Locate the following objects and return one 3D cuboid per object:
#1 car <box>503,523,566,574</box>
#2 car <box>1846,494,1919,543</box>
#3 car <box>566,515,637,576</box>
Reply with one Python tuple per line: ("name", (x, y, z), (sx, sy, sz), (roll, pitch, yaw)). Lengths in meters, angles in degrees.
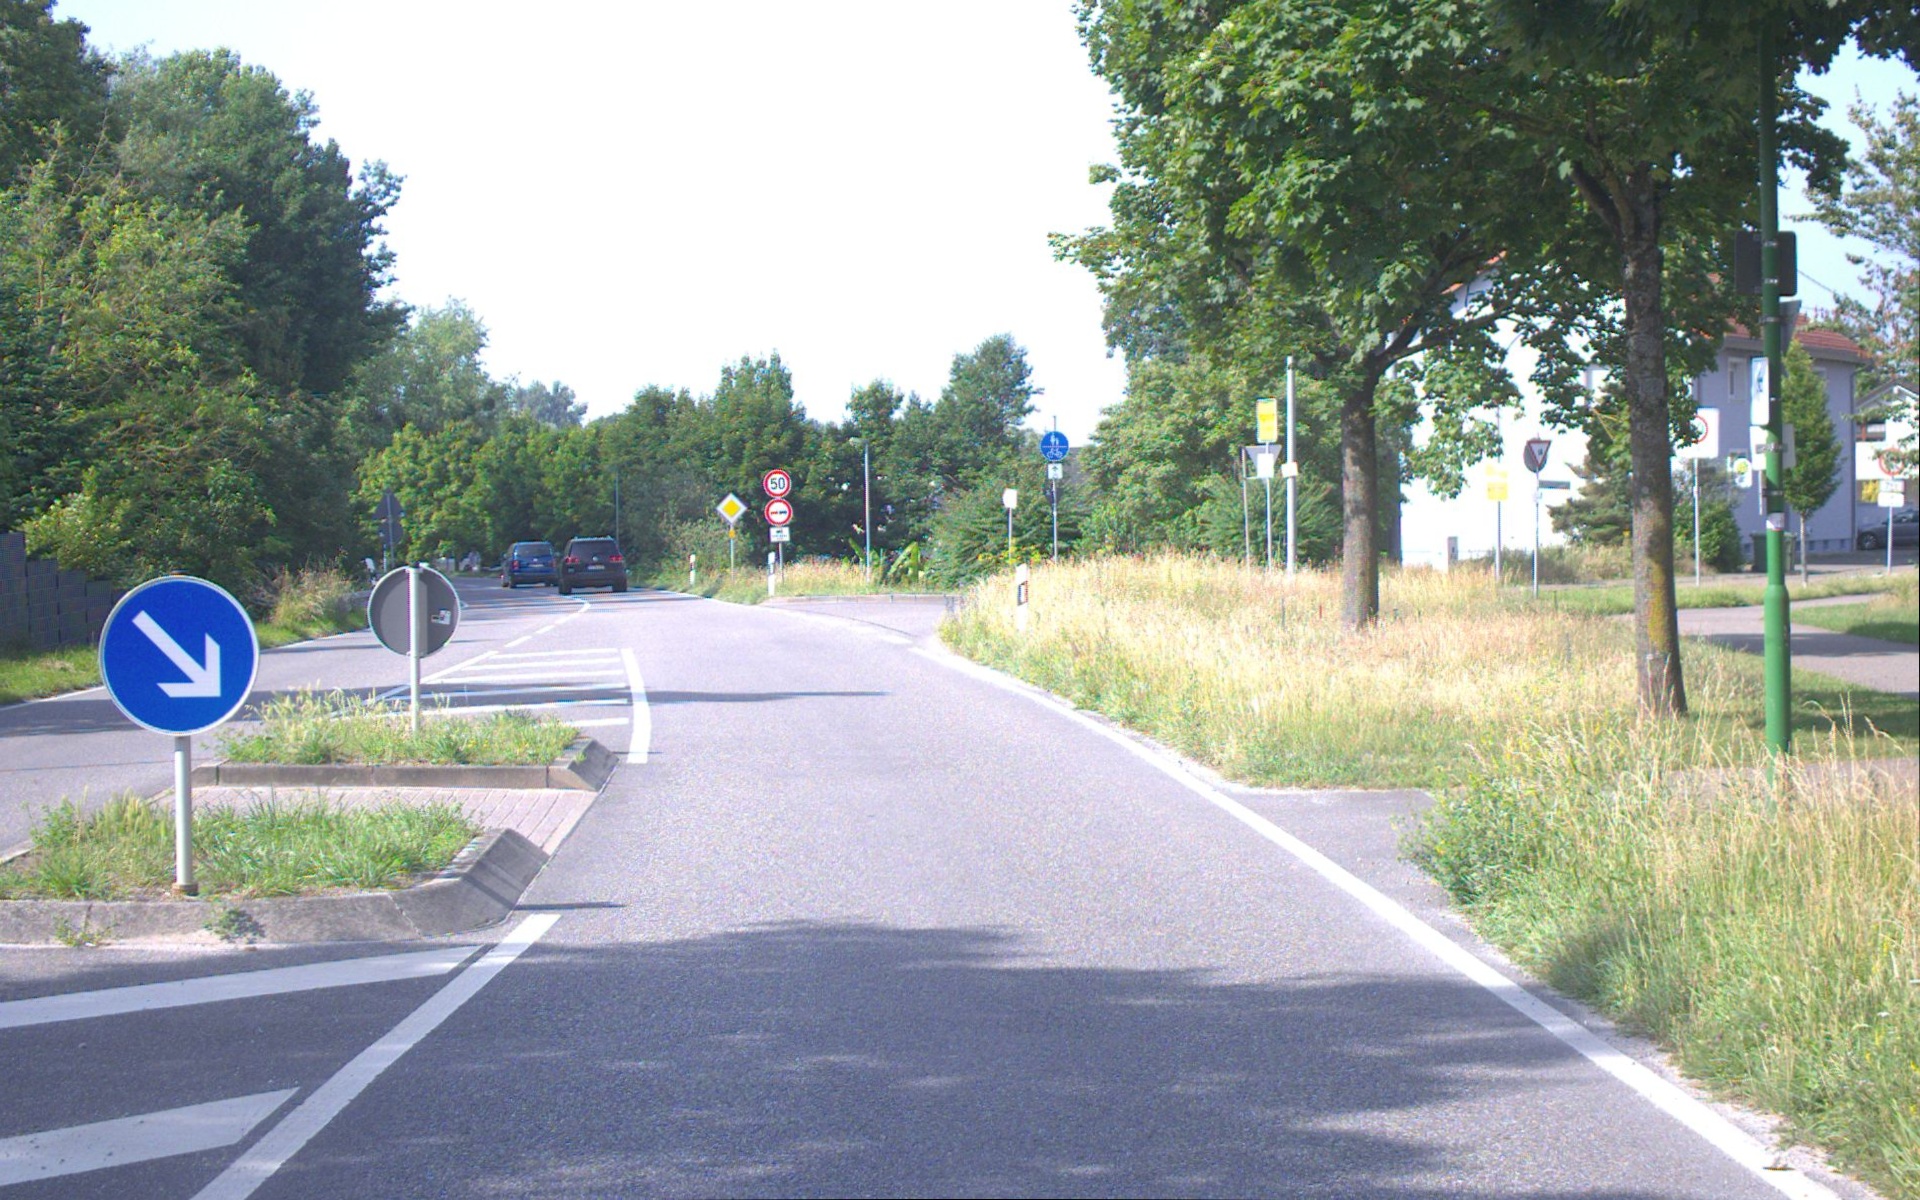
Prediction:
("car", (-15.370, -1.870, 124.150), (2.003, 1.765, 4.001), (-1, 2, -11))
("car", (33.378, -2.840, 119.823), (4.455, 1.692, 1.767), (2, 2, 34))
("car", (-10.886, -1.670, 104.247), (1.925, 1.765, 4.001), (-1, 2, -9))
